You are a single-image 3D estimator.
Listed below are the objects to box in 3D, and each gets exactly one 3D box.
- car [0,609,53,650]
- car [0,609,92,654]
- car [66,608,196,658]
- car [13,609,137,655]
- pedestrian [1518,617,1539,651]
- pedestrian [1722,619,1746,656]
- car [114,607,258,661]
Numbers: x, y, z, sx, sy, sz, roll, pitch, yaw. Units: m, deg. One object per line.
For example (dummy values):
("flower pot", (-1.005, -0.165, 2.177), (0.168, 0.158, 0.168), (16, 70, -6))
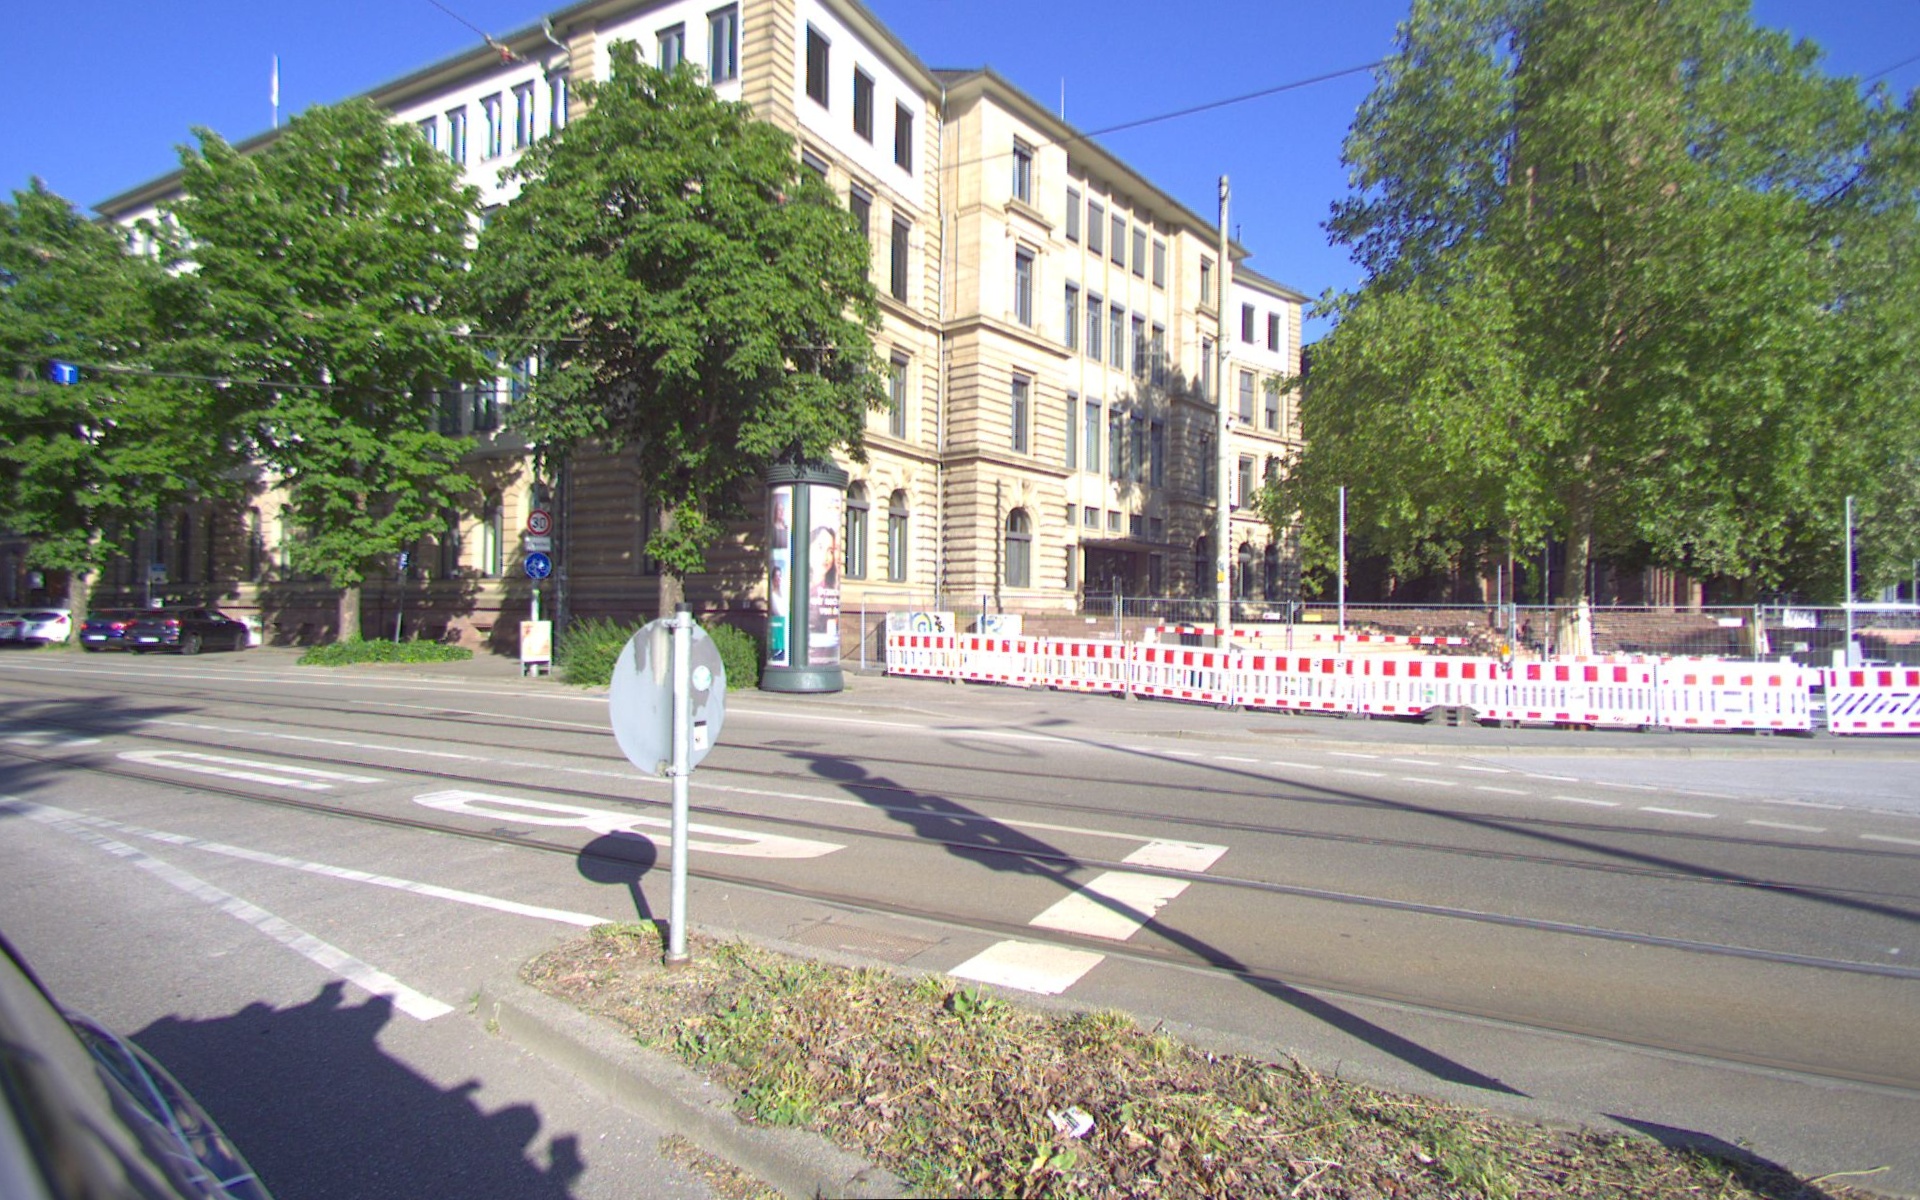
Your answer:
("car", (-38.422, 1.168, 40.228), (1.625, 1.572, 3.653), (-1, 0, -4))
("car", (-35.372, 1.161, 38.584), (1.625, 1.572, 3.653), (-1, 0, -4))
("car", (-28.307, 1.077, 34.705), (1.625, 1.572, 3.653), (-1, 0, -4))
("car", (-33.045, 1.153, 37.922), (1.625, 1.572, 3.653), (-1, 0, -4))
("pedestrian", (27.965, 1.659, 49.775), (0.627, 1.660, 0.677), (1, -1, -38))
("pedestrian", (34.879, 1.688, 45.610), (0.762, 1.660, 0.666), (-1, -1, 44))
("car", (-25.659, 1.079, 33.759), (1.818, 1.643, 4.185), (-1, 0, -4))
